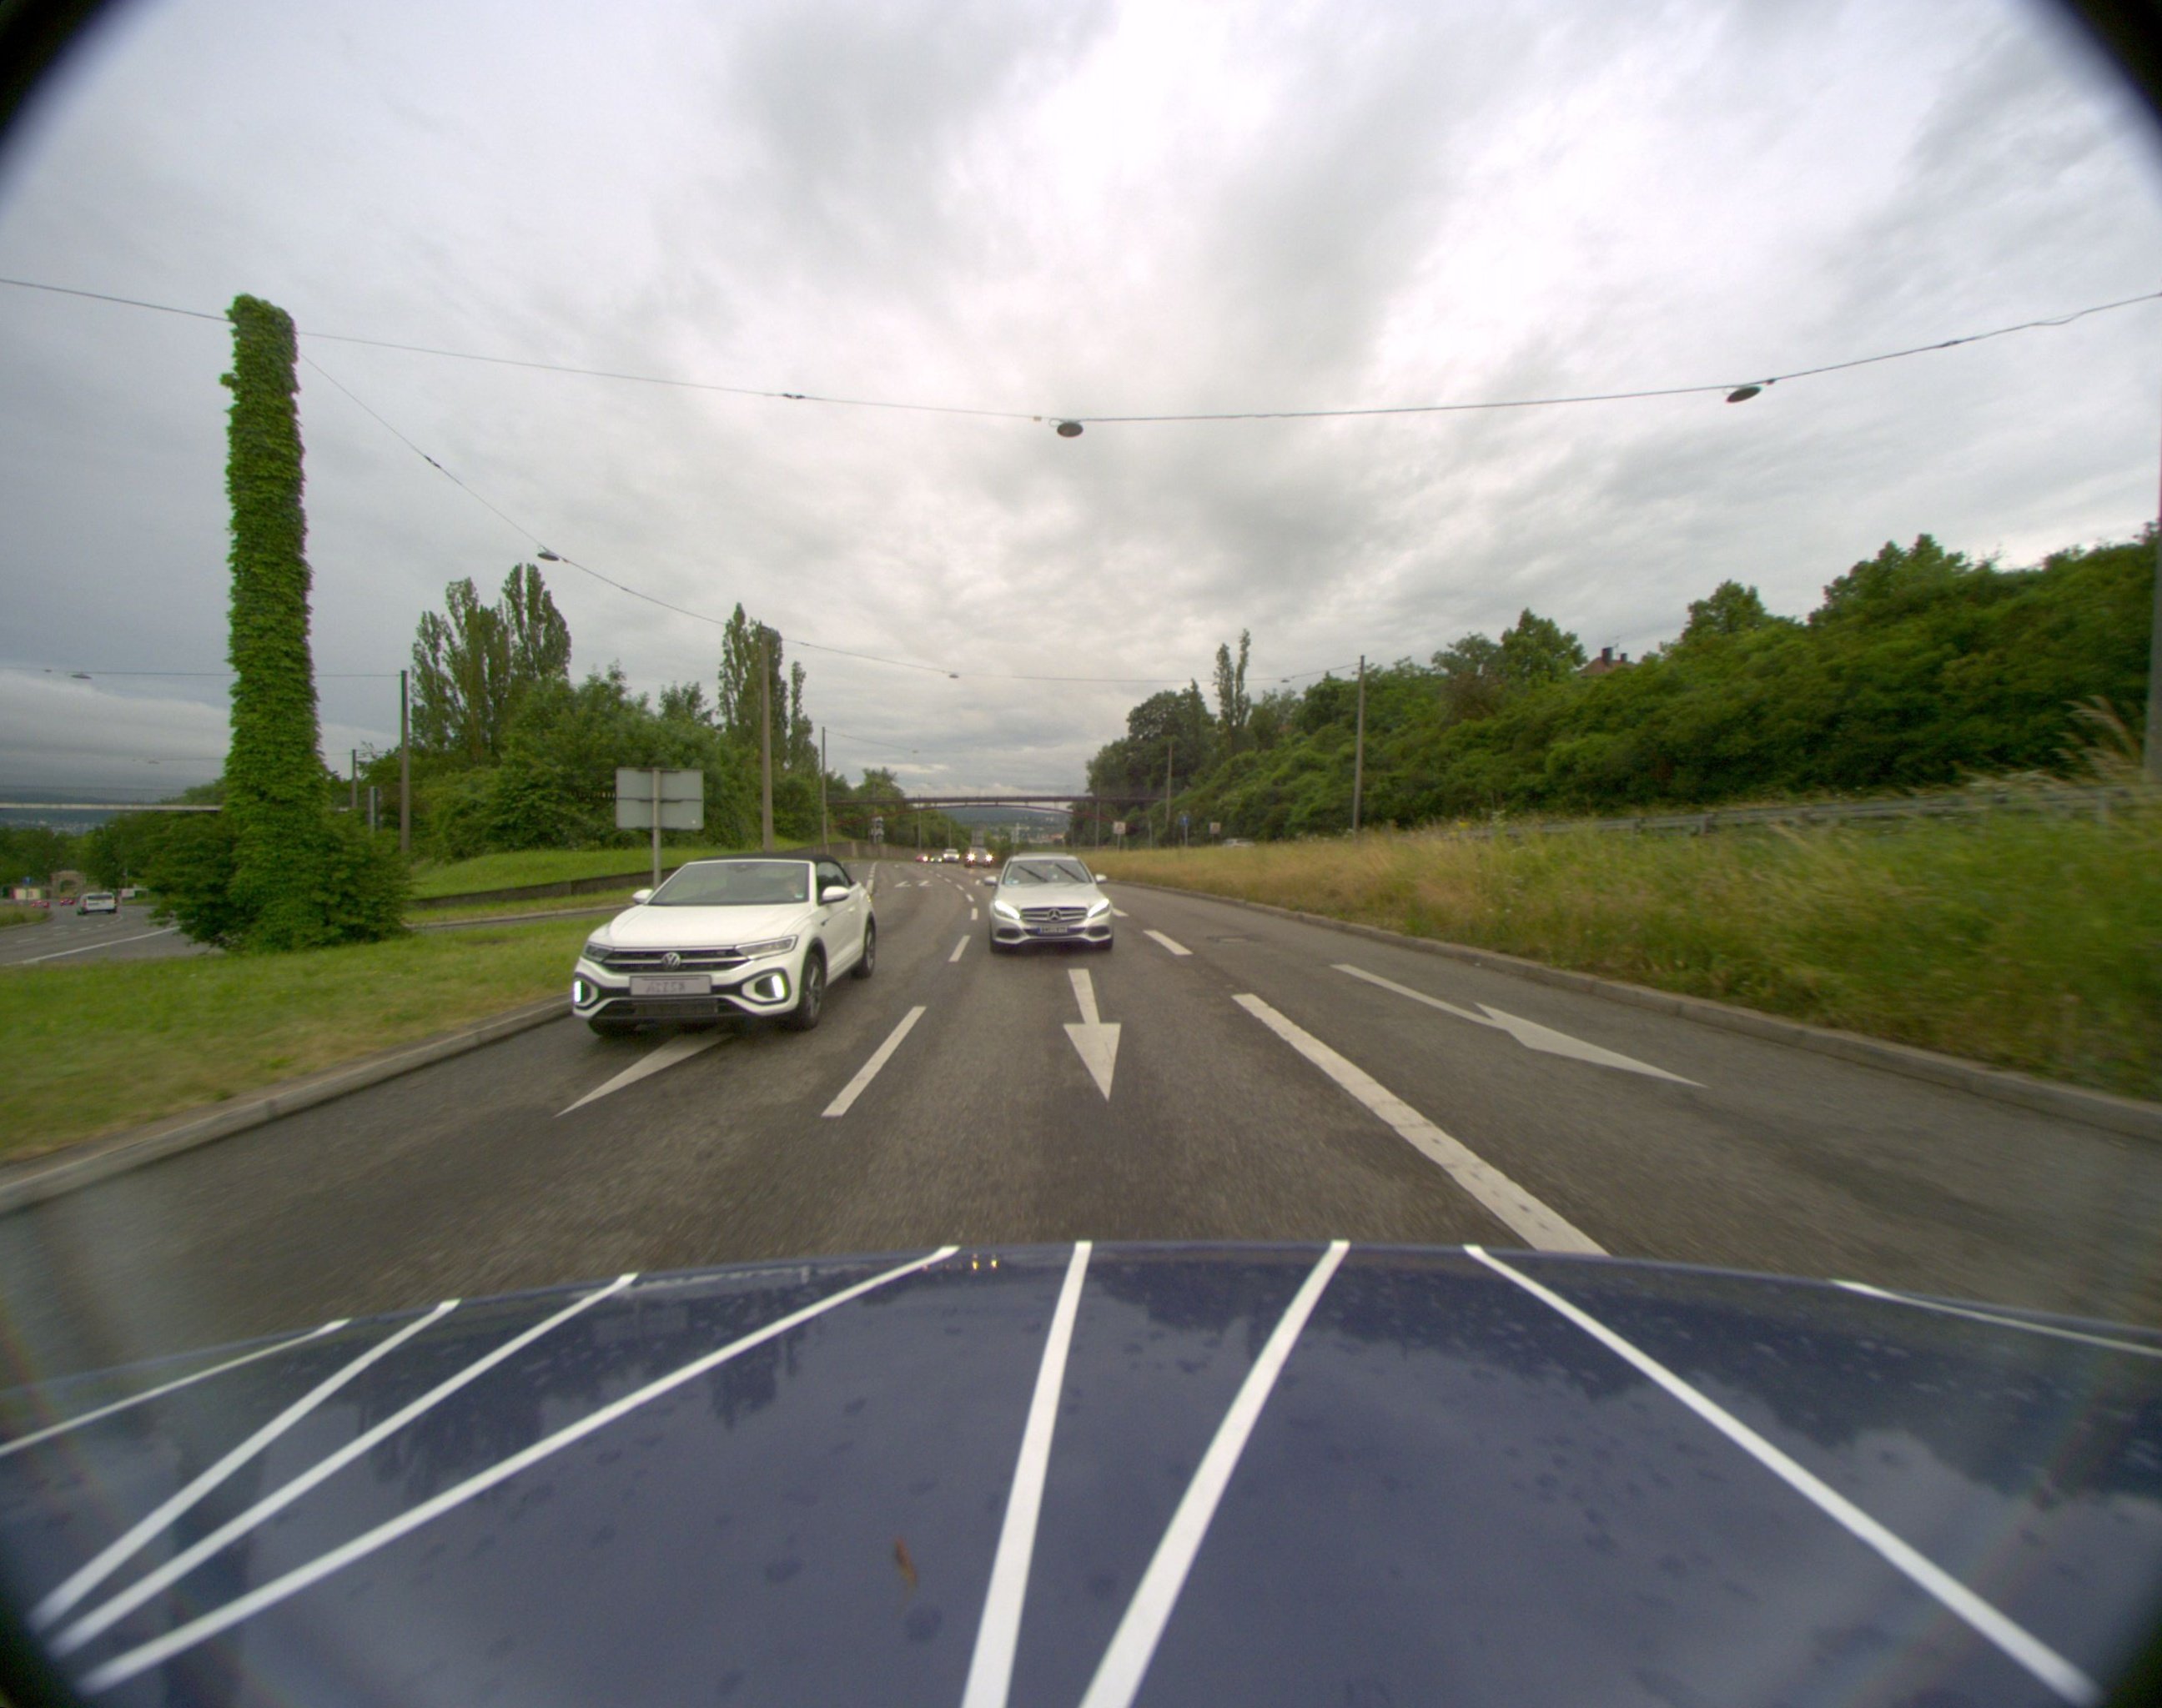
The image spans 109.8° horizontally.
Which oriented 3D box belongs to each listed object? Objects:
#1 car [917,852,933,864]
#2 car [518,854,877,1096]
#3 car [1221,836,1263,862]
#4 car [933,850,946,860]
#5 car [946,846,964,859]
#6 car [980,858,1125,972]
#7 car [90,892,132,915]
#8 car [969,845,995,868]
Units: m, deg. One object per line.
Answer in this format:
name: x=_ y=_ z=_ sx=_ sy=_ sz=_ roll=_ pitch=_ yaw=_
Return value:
car: x=-24.031 y=0.628 z=117.068 sx=2.000 sy=1.652 sz=3.997 roll=-3 pitch=1 yaw=-7
car: x=-3.238 y=0.845 z=7.454 sx=1.718 sy=1.544 sz=4.225 roll=-1 pitch=2 yaw=-6
car: x=11.103 y=-0.341 z=52.635 sx=1.741 sy=1.508 sz=3.676 roll=10 pitch=0 yaw=-4
car: x=-24.609 y=0.192 z=132.190 sx=2.000 sy=1.652 sz=3.997 roll=-3 pitch=1 yaw=-7
car: x=-15.742 y=-0.125 z=94.766 sx=1.944 sy=1.468 sz=3.995 roll=-4 pitch=1 yaw=-13
car: x=-0.464 y=0.809 z=12.046 sx=1.895 sy=1.361 sz=4.132 roll=0 pitch=2 yaw=-3
car: x=-87.316 y=4.461 z=68.389 sx=4.811 sy=1.837 sz=2.003 roll=-3 pitch=1 yaw=35
car: x=-8.109 y=0.206 z=61.948 sx=1.913 sy=1.668 sz=3.996 roll=-3 pitch=1 yaw=-10
